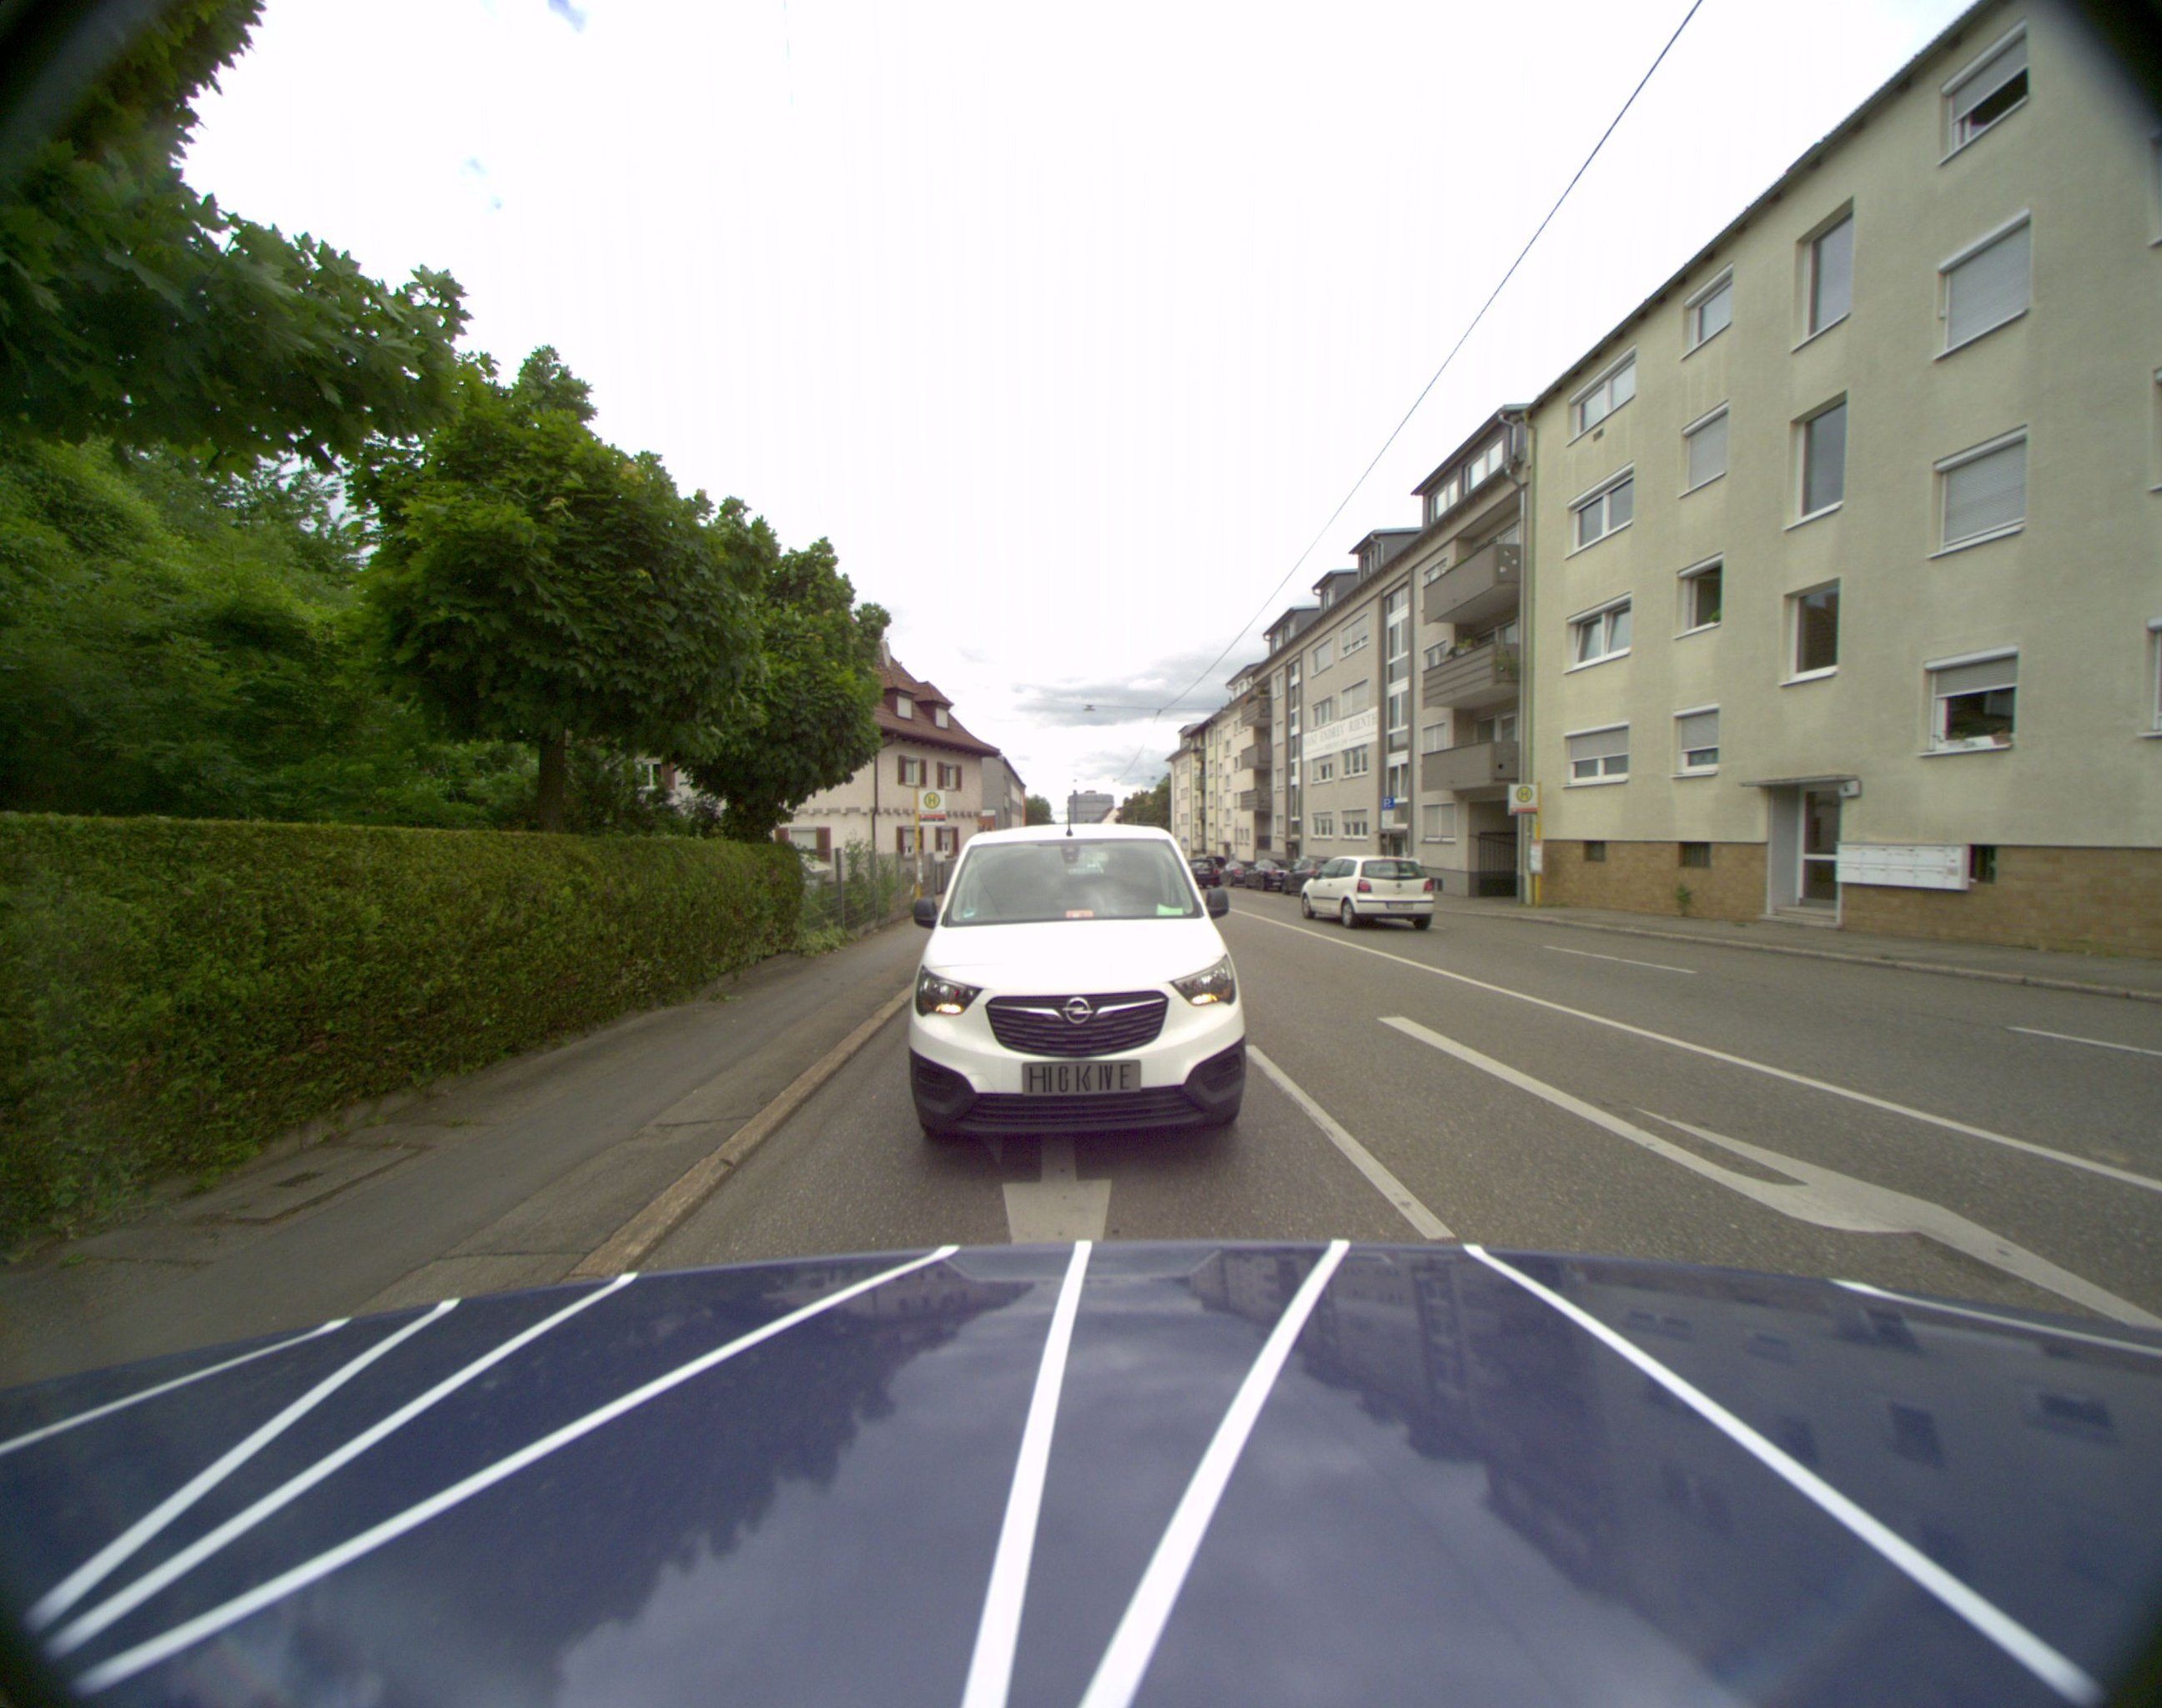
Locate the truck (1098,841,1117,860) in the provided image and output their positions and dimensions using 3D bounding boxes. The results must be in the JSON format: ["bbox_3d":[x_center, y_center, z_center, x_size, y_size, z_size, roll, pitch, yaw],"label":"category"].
[{"bbox_3d":[3.722,-0.541,107.926,2.546,2.522,5.493,-1,1,1],"label":"truck"}]

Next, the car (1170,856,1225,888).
[{"bbox_3d":[5.520,0.836,36.431,1.776,1.395,3.642,0,1,-5],"label":"car"}]

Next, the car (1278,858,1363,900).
[{"bbox_3d":[8.906,0.887,28.571,1.776,1.403,3.685,0,1,-5],"label":"car"}]

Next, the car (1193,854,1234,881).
[{"bbox_3d":[8.440,0.843,48.682,1.776,1.591,3.538,0,1,-5],"label":"car"}]

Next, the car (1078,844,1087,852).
[{"bbox_3d":[0.402,-1.599,194.465,1.999,1.892,3.998,-1,0,-4],"label":"car"}]

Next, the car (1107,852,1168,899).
[{"bbox_3d":[2.141,0.784,30.116,1.863,1.601,4.478,-2,1,-2],"label":"car"}]

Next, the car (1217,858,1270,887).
[{"bbox_3d":[8.395,0.917,39.548,1.776,1.395,3.538,0,1,-5],"label":"car"}]

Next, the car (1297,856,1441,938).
[{"bbox_3d":[5.920,0.811,16.045,1.592,1.474,3.598,-1,1,-2],"label":"car"}]

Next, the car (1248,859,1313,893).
[{"bbox_3d":[8.734,0.922,33.520,1.669,1.368,3.538,0,1,-5],"label":"car"}]

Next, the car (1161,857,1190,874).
[{"bbox_3d":[8.125,0.976,65.607,1.776,1.395,3.757,0,1,-5],"label":"car"}]

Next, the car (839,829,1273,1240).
[{"bbox_3d":[-0.076,0.784,5.734,1.862,1.772,4.711,-2,1,1],"label":"car"}]

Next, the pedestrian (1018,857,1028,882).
[{"bbox_3d":[-4.406,1.176,58.107,0.647,1.830,0.592,-1,1,4],"label":"pedestrian"}]
